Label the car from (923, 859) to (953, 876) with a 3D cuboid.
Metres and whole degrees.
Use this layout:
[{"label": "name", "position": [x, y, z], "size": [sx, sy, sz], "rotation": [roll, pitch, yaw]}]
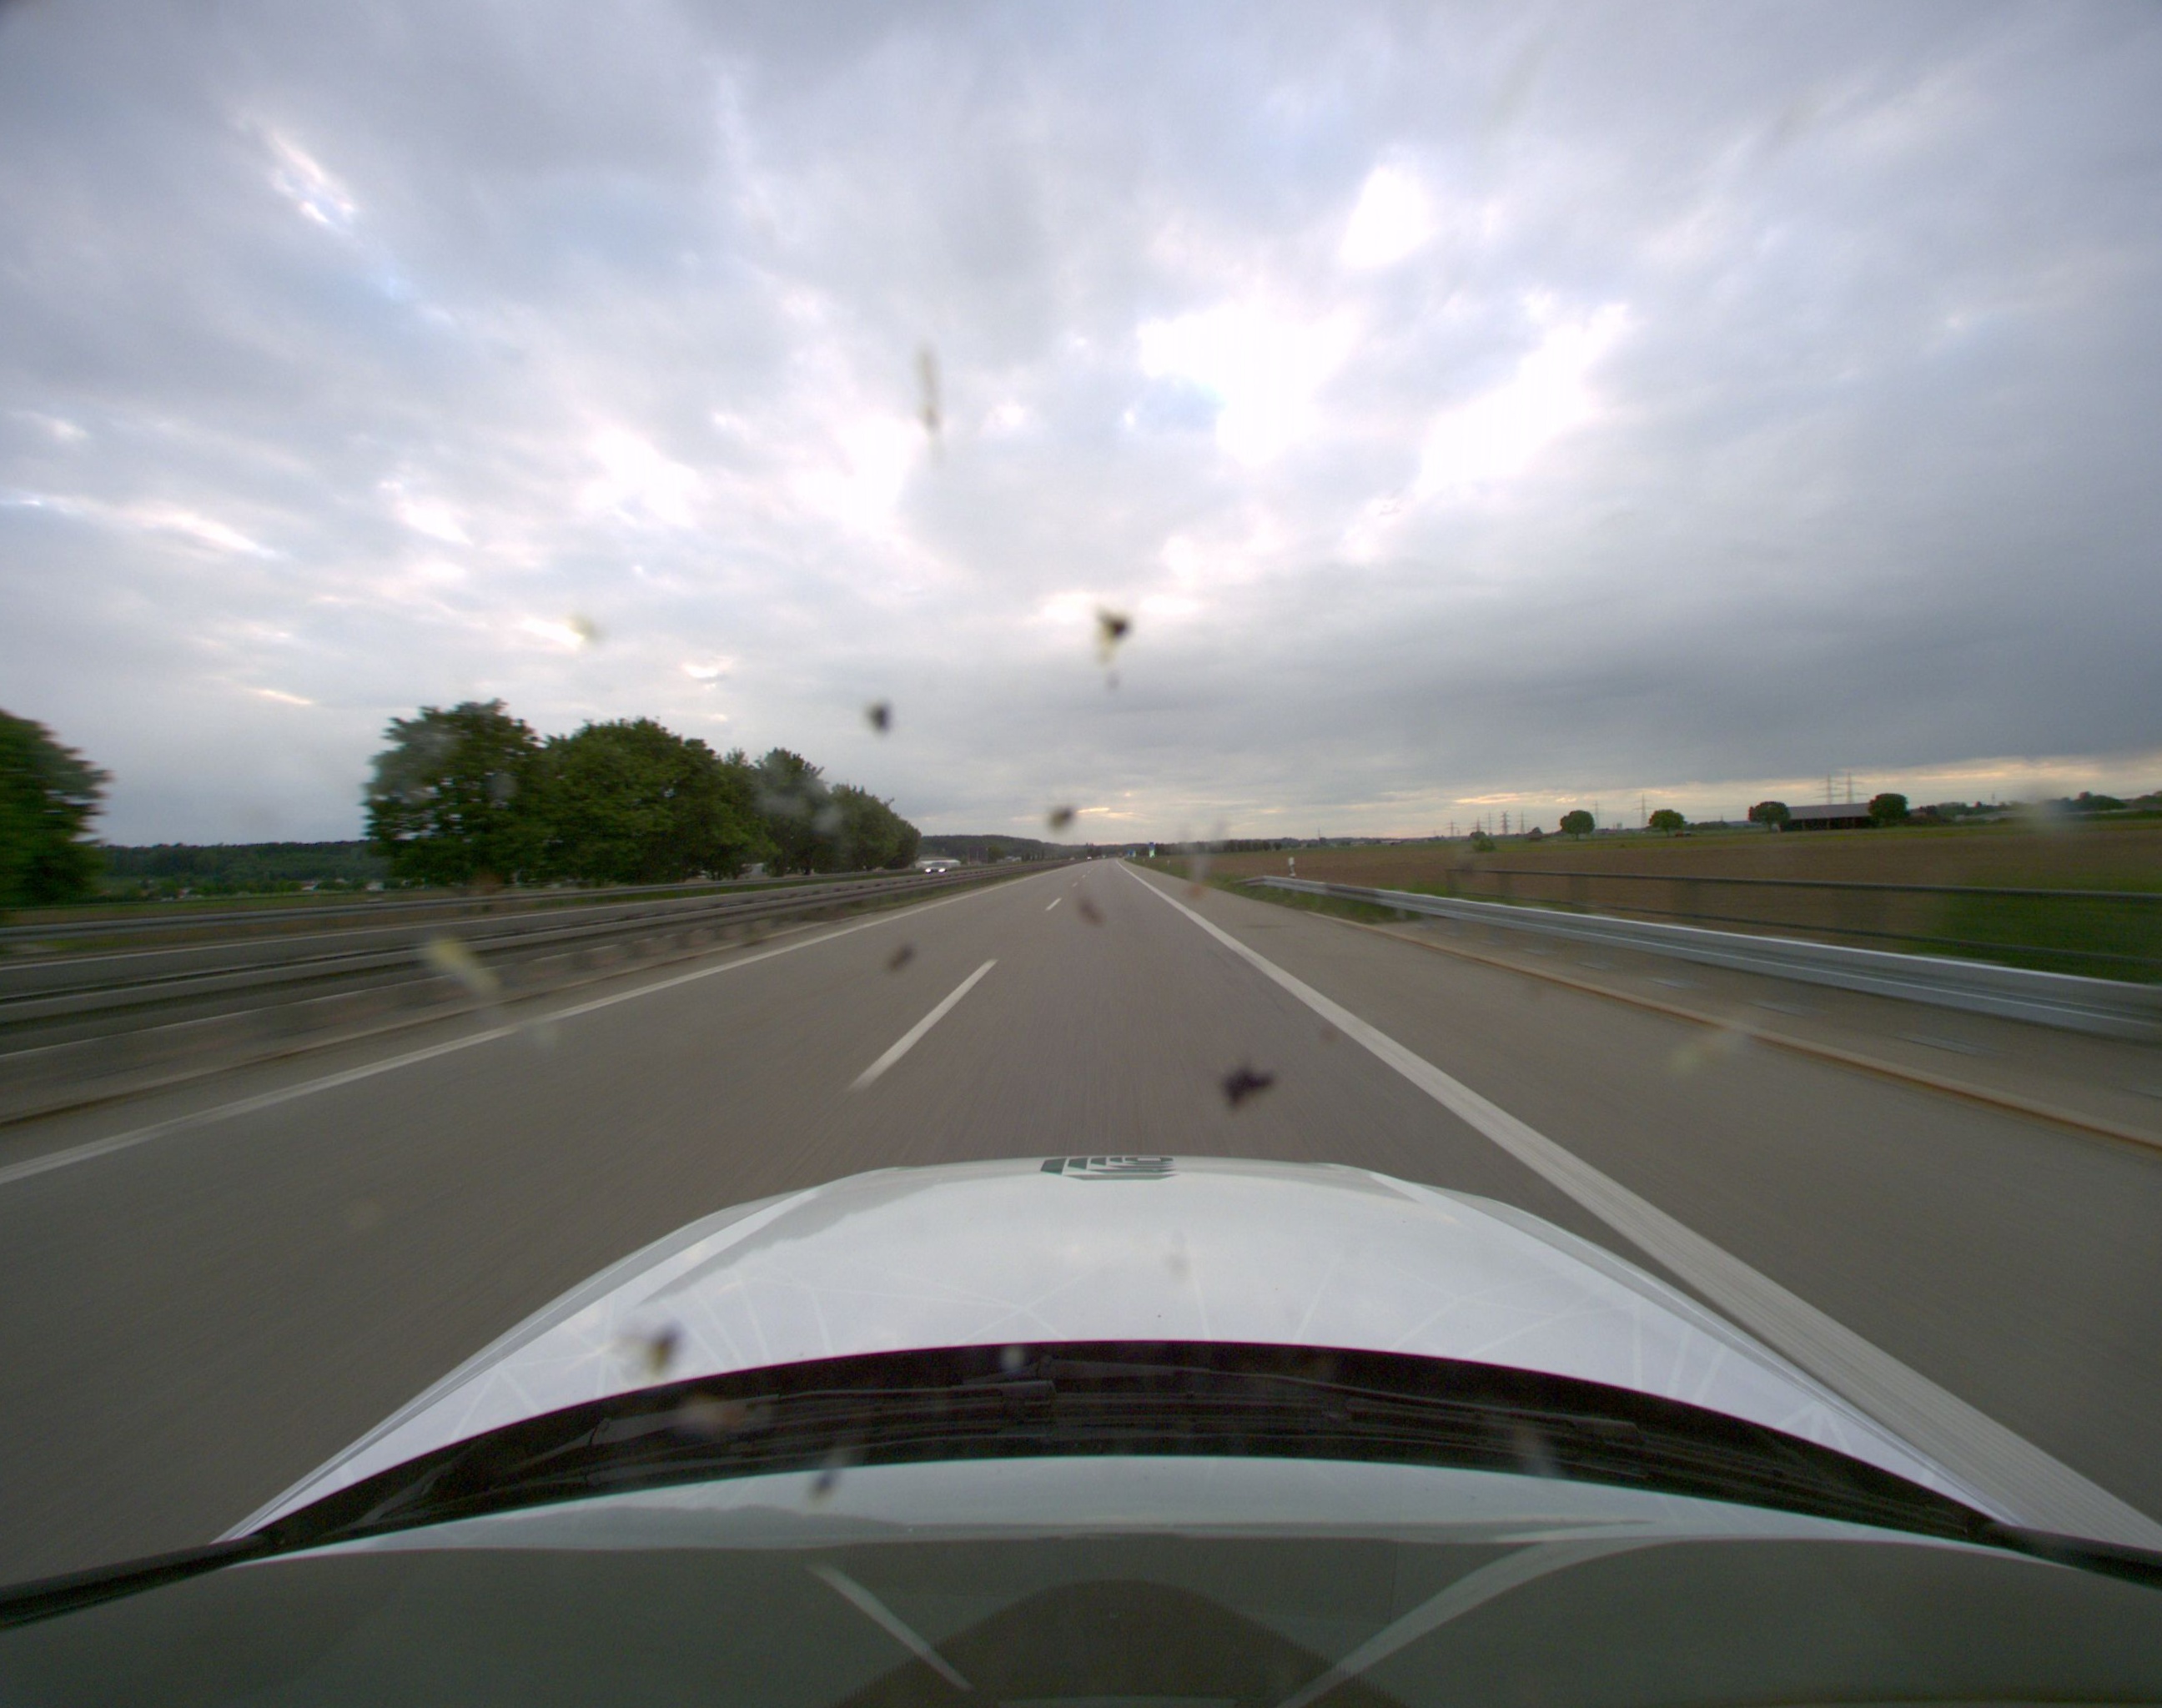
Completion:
[{"label": "car", "position": [-14.185, 1.338, 80.991], "size": [1.986, 1.582, 4.811], "rotation": [-1, 0, 2]}]
